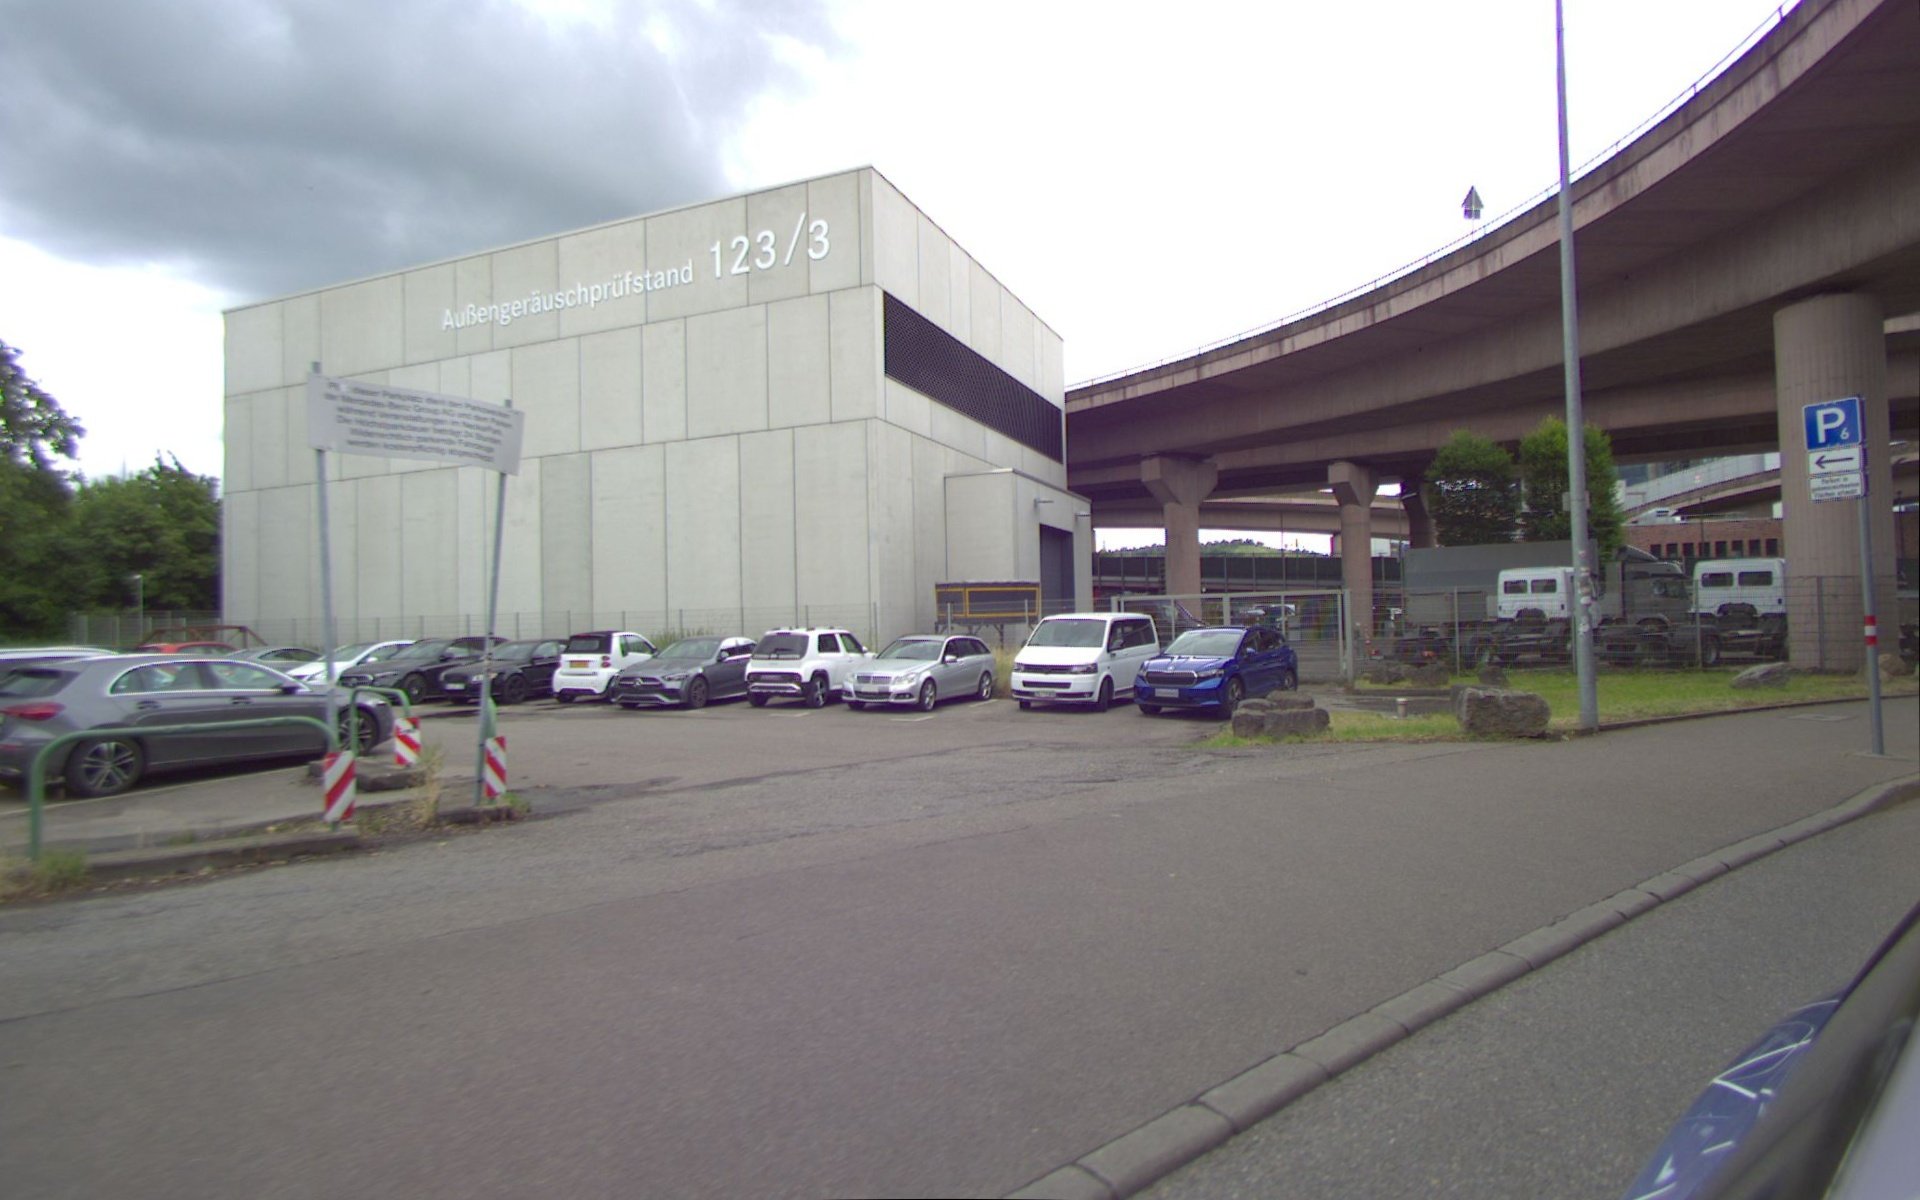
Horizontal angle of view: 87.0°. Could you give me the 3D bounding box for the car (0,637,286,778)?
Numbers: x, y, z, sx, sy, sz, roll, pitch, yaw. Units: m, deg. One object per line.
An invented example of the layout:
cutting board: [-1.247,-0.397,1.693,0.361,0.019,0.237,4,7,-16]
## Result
car: [-11.432,1.304,12.949,1.817,1.533,4.467,-2,-1,22]

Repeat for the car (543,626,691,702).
car: [-7.791,1.402,23.224,1.605,1.564,3.074,-1,-1,23]

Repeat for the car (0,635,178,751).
car: [-13.930,1.314,14.160,1.817,1.533,4.467,-2,-1,22]

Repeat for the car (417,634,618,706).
car: [-10.219,1.553,23.717,1.755,1.401,4.327,-1,-1,23]

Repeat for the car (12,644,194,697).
car: [-25.433,2.050,30.209,1.477,1.355,4.024,-1,-1,17]

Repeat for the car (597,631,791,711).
car: [-5.505,1.423,21.532,1.755,1.401,4.327,-1,-1,23]

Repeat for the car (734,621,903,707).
car: [-2.924,1.294,21.917,1.754,1.608,4.329,-1,-1,21]

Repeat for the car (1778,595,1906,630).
car: [45.730,0.664,52.594,4.853,1.728,2.063,-2,-2,42]

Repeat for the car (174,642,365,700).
car: [-18.527,1.858,27.407,1.674,1.315,4.175,-1,-1,17]

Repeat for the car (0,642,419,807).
car: [-9.025,1.297,12.091,1.817,1.444,4.408,-2,-1,22]

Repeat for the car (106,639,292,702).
car: [-20.912,1.883,28.027,1.477,1.478,4.042,-1,-1,17]

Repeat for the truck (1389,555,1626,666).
truck: [15.607,0.259,28.886,5.990,2.923,2.463,-1,-1,-19]

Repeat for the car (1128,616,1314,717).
car: [5.148,1.174,19.495,1.766,1.655,4.620,-2,-1,38]

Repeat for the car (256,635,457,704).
car: [-15.049,1.681,25.527,1.751,1.475,4.337,-1,-1,17]

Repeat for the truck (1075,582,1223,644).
truck: [9.597,0.710,51.527,6.858,2.970,3.023,-1,-2,26]

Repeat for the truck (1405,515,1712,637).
truck: [23.553,-0.783,40.831,10.018,4.422,3.883,-1,-2,23]

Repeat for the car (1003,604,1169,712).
car: [2.741,1.081,21.060,1.876,1.982,4.633,-1,-1,28]

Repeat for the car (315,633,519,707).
car: [-12.794,1.592,24.182,1.751,1.475,4.337,-1,-1,17]

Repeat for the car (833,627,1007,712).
car: [-0.694,1.353,21.103,1.757,1.475,4.515,-1,-1,25]

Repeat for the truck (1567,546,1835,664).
truck: [19.338,0.103,26.341,7.086,2.779,2.428,-1,-1,-25]
